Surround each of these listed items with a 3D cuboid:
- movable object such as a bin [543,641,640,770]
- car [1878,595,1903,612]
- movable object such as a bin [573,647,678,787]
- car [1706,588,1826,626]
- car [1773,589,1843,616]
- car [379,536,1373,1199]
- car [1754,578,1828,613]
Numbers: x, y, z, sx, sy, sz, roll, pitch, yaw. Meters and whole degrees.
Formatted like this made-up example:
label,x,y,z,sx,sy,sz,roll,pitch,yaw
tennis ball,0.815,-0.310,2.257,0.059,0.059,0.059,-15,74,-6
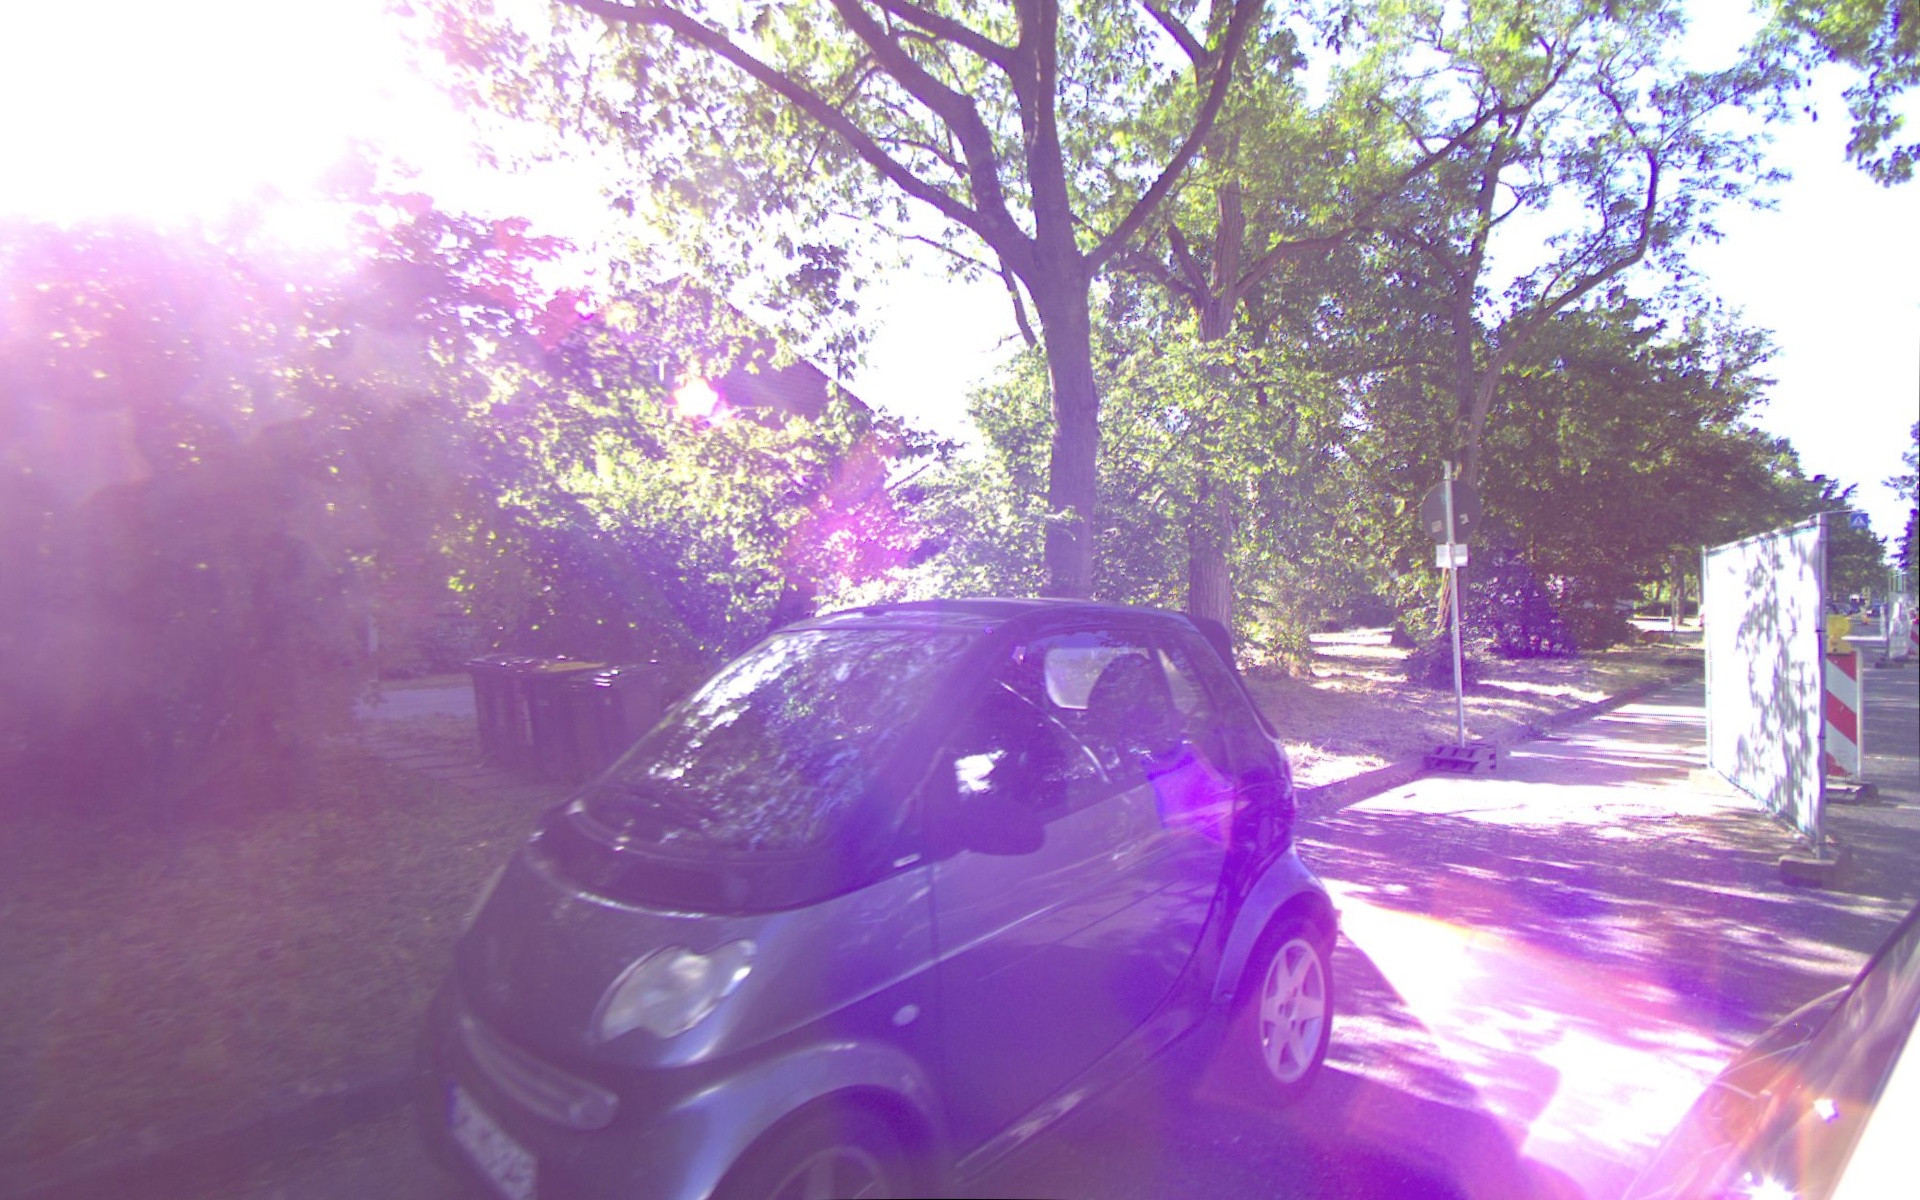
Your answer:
label,x,y,z,sx,sy,sz,roll,pitch,yaw
movable object such as a bin,-2.978,0.825,8.165,0.454,0.891,0.727,-7,6,-39
car,111.155,0.420,120.863,1.995,1.905,3.935,2,2,45
movable object such as a bin,-2.517,0.848,7.589,0.454,0.891,0.727,-7,6,-39
car,46.447,0.394,58.389,5.254,2.030,1.969,2,0,43
car,68.501,0.182,81.821,4.228,2.030,1.543,1,0,41
car,-0.080,0.679,3.047,2.632,1.529,1.495,0,-1,-44
car,64.461,-0.355,78.546,4.394,2.578,1.861,1,0,41
